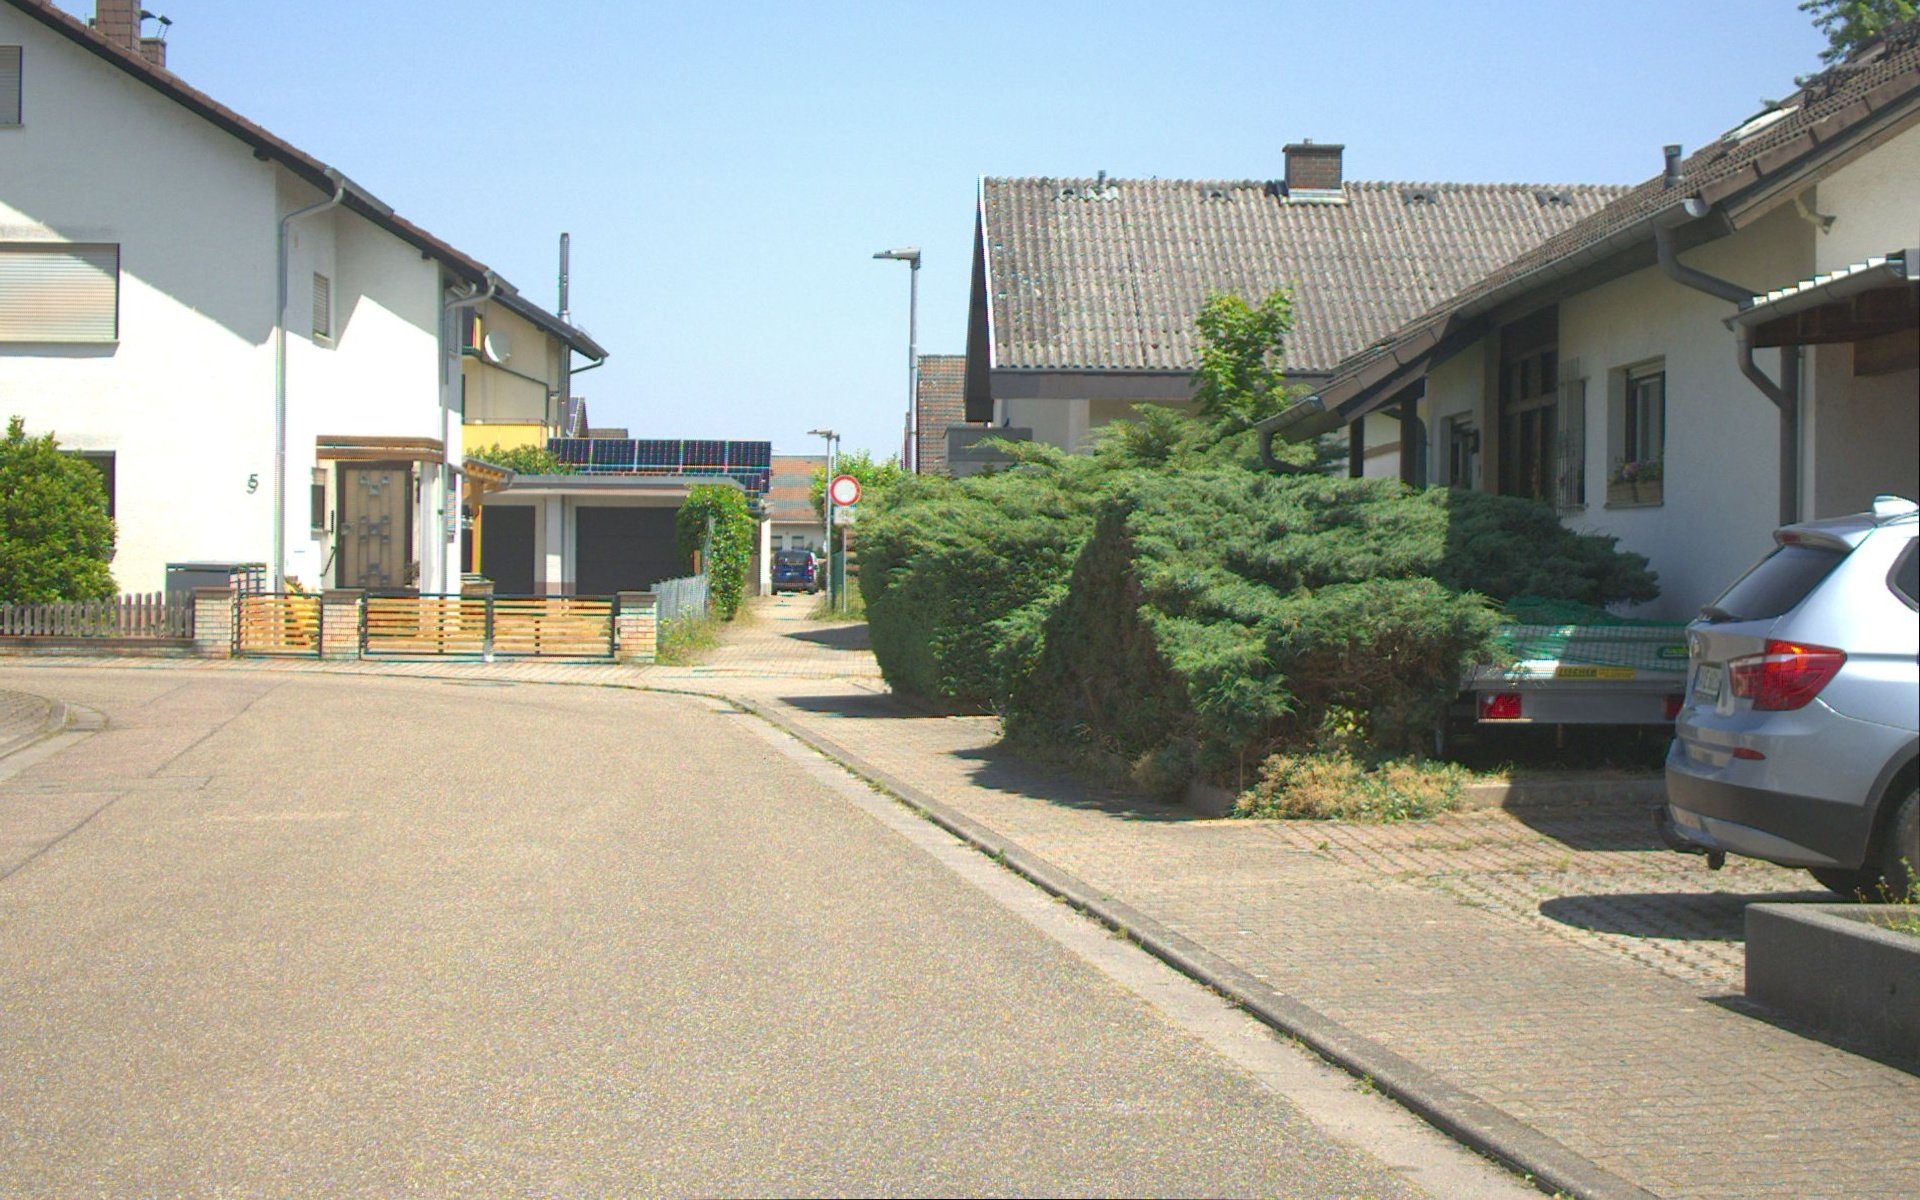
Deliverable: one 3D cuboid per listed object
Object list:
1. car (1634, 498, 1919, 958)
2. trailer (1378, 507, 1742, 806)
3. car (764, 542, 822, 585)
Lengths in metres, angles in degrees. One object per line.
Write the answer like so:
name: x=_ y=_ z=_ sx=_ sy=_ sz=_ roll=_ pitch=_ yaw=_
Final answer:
car: x=5.133 y=0.434 z=13.529 sx=4.627 sy=1.696 sz=1.709 roll=-1 pitch=1 yaw=2
trailer: x=3.594 y=0.278 z=21.086 sx=1.587 sy=1.666 sz=3.297 roll=-1 pitch=1 yaw=-1
car: x=-6.743 y=-1.495 z=139.049 sx=2.193 sy=1.696 sz=3.807 roll=0 pitch=1 yaw=-1
